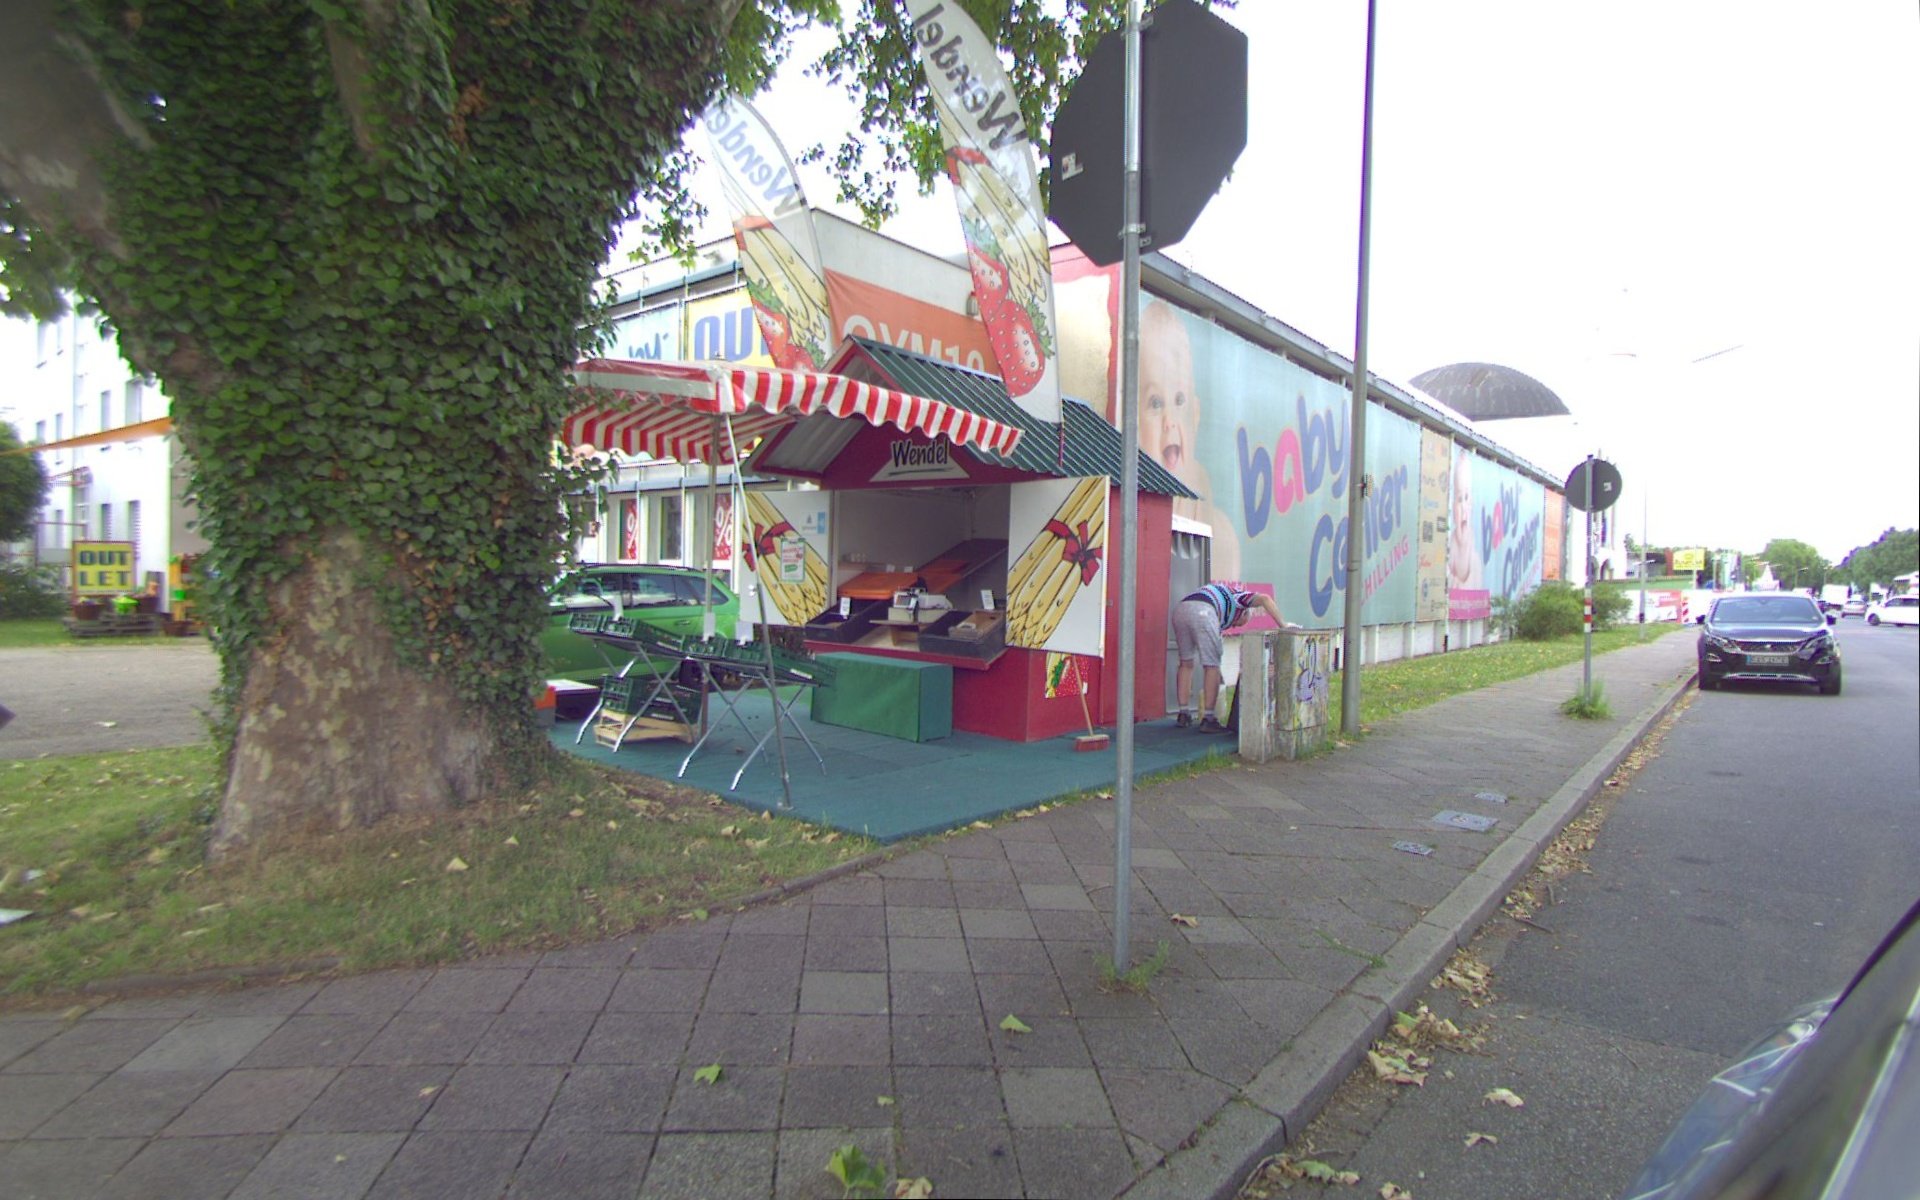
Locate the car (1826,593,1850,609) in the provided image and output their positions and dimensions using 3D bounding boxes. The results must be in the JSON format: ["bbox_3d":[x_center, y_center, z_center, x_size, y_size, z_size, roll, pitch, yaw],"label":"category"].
[{"bbox_3d":[89.781,0.099,103.518,1.588,1.483,3.709,3,2,38],"label":"car"}]

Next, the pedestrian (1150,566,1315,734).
[{"bbox_3d":[2.344,0.376,8.718,0.948,1.330,1.015,0,1,-42],"label":"pedestrian"}]

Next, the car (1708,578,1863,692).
[{"bbox_3d":[14.026,0.522,17.344,1.804,1.686,4.576,-1,-1,38],"label":"car"}]

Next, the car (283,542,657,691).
[{"bbox_3d":[-6.035,0.139,12.881,1.734,1.588,3.949,2,1,35],"label":"car"}]

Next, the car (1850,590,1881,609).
[{"bbox_3d":[74.870,-0.046,83.722,1.588,1.483,3.709,3,2,38],"label":"car"}]

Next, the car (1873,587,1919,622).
[{"bbox_3d":[55.802,0.308,58.103,1.953,1.973,5.022,1,1,-4],"label":"car"}]

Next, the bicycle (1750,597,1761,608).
[{"bbox_3d":[95.594,0.289,121.585,0.792,1.310,1.855,7,5,41],"label":"bicycle"}]

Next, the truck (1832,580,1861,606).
[{"bbox_3d":[134.128,-1.104,153.202,2.743,3.768,7.072,4,3,38],"label":"truck"}]

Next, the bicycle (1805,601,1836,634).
[{"bbox_3d":[33.386,0.671,39.286,0.796,1.195,2.590,0,0,38],"label":"bicycle"}]

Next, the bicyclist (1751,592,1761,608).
[{"bbox_3d":[95.618,-0.015,121.585,0.794,1.933,0.816,6,4,41],"label":"bicyclist"}]

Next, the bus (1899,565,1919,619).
[{"bbox_3d":[64.956,-0.437,67.176,2.660,3.463,13.031,6,4,39],"label":"bus"}]

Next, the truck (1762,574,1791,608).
[{"bbox_3d":[103.713,-1.118,128.549,2.773,4.169,8.161,-2,-1,39],"label":"truck"}]

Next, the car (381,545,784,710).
[{"bbox_3d":[-4.087,0.217,11.458,1.738,1.531,3.941,2,1,41],"label":"car"}]

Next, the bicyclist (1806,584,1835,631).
[{"bbox_3d":[33.387,0.281,39.281,0.805,1.815,1.190,-1,0,39],"label":"bicyclist"}]
